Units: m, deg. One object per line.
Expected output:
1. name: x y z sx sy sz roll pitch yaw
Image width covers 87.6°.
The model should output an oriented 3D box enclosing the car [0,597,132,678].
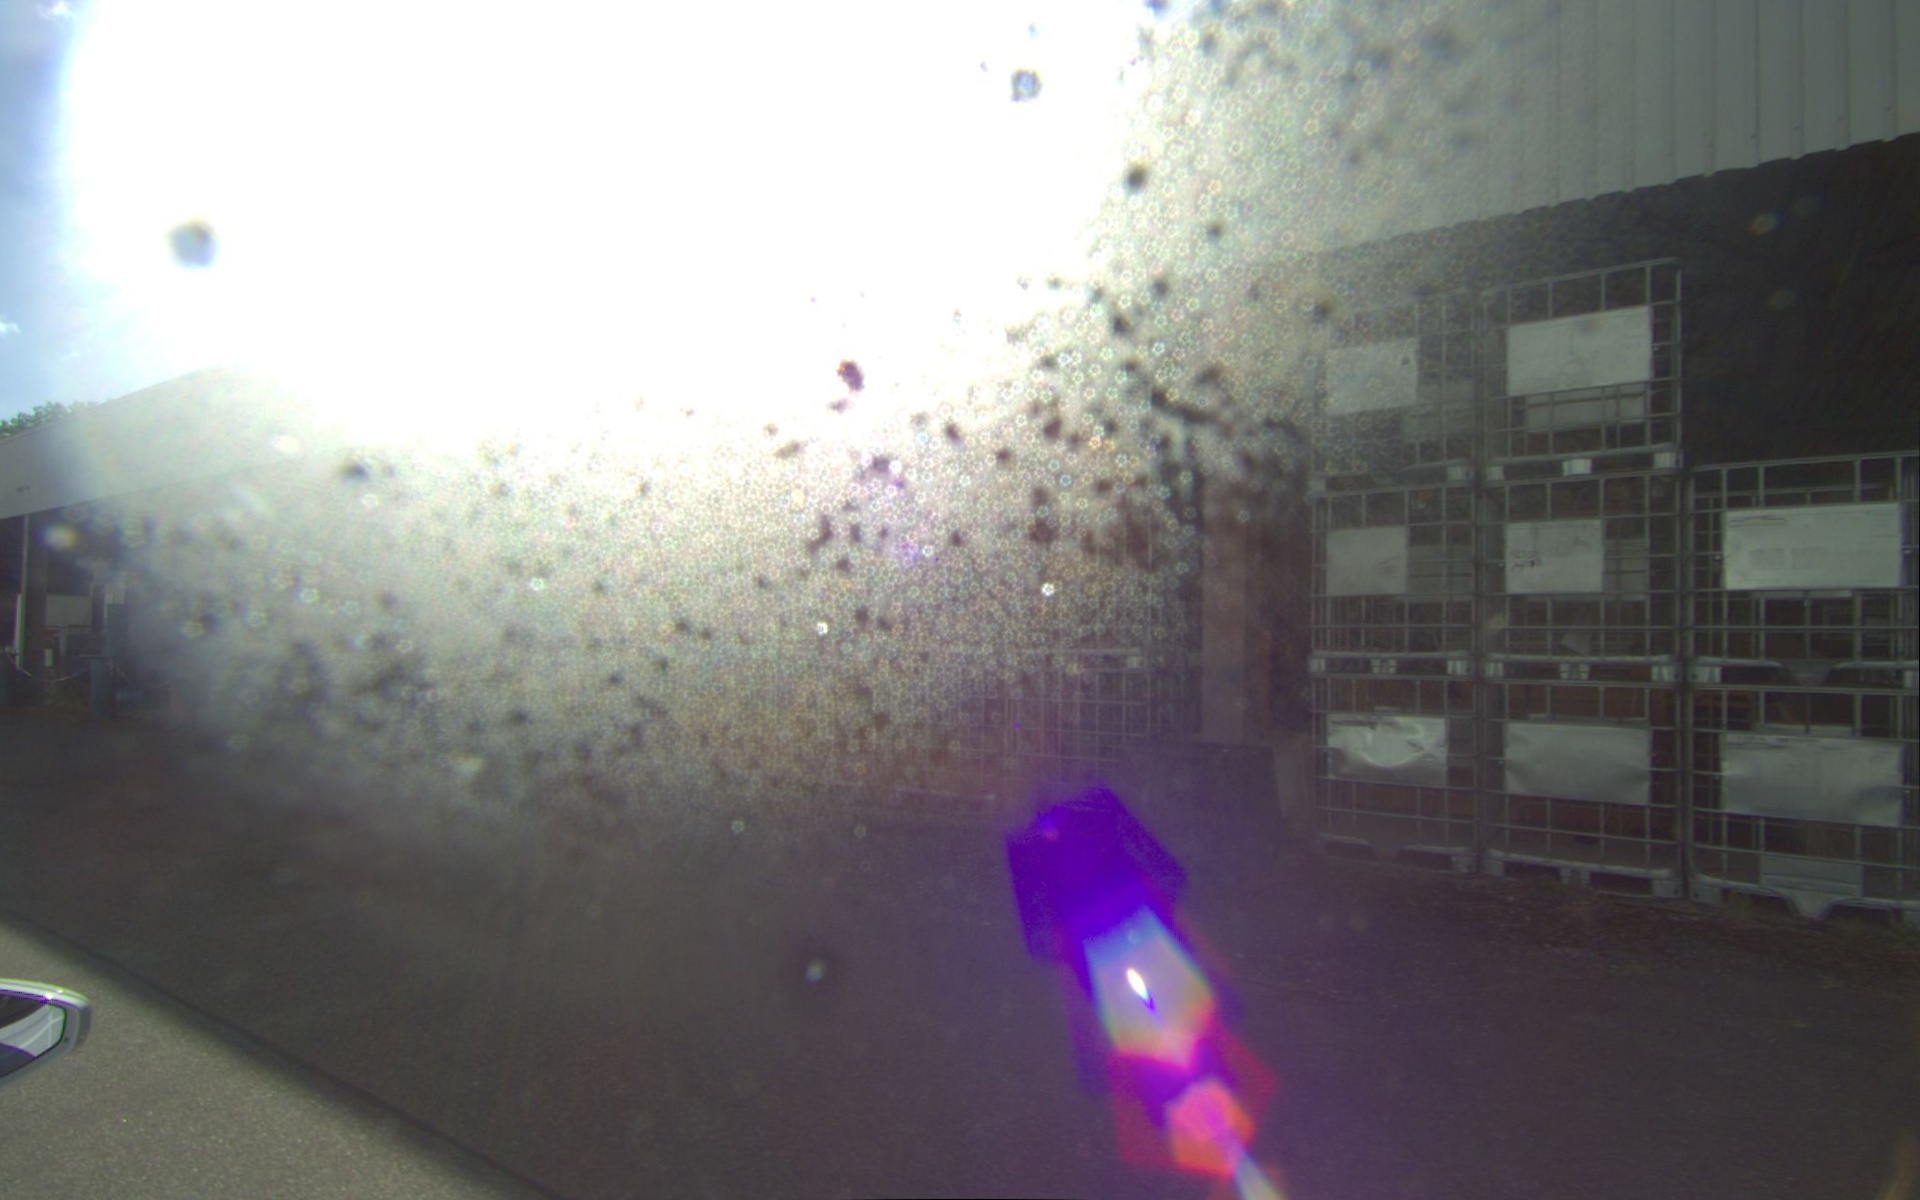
1. car: -28.991 1.205 31.252 1.890 2.336 4.426 -3 -6 34

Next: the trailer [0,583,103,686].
1. trailer: -22.994 0.865 24.603 1.703 2.428 2.519 -1 -4 34

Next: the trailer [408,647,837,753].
1. trailer: -4.411 1.290 14.337 2.110 1.147 5.841 0 -3 31

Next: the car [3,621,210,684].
1. car: -23.565 1.524 27.801 1.662 1.542 4.032 -3 -6 34

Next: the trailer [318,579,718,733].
1. trailer: -6.860 0.894 16.372 2.049 2.058 5.754 0 -3 34
